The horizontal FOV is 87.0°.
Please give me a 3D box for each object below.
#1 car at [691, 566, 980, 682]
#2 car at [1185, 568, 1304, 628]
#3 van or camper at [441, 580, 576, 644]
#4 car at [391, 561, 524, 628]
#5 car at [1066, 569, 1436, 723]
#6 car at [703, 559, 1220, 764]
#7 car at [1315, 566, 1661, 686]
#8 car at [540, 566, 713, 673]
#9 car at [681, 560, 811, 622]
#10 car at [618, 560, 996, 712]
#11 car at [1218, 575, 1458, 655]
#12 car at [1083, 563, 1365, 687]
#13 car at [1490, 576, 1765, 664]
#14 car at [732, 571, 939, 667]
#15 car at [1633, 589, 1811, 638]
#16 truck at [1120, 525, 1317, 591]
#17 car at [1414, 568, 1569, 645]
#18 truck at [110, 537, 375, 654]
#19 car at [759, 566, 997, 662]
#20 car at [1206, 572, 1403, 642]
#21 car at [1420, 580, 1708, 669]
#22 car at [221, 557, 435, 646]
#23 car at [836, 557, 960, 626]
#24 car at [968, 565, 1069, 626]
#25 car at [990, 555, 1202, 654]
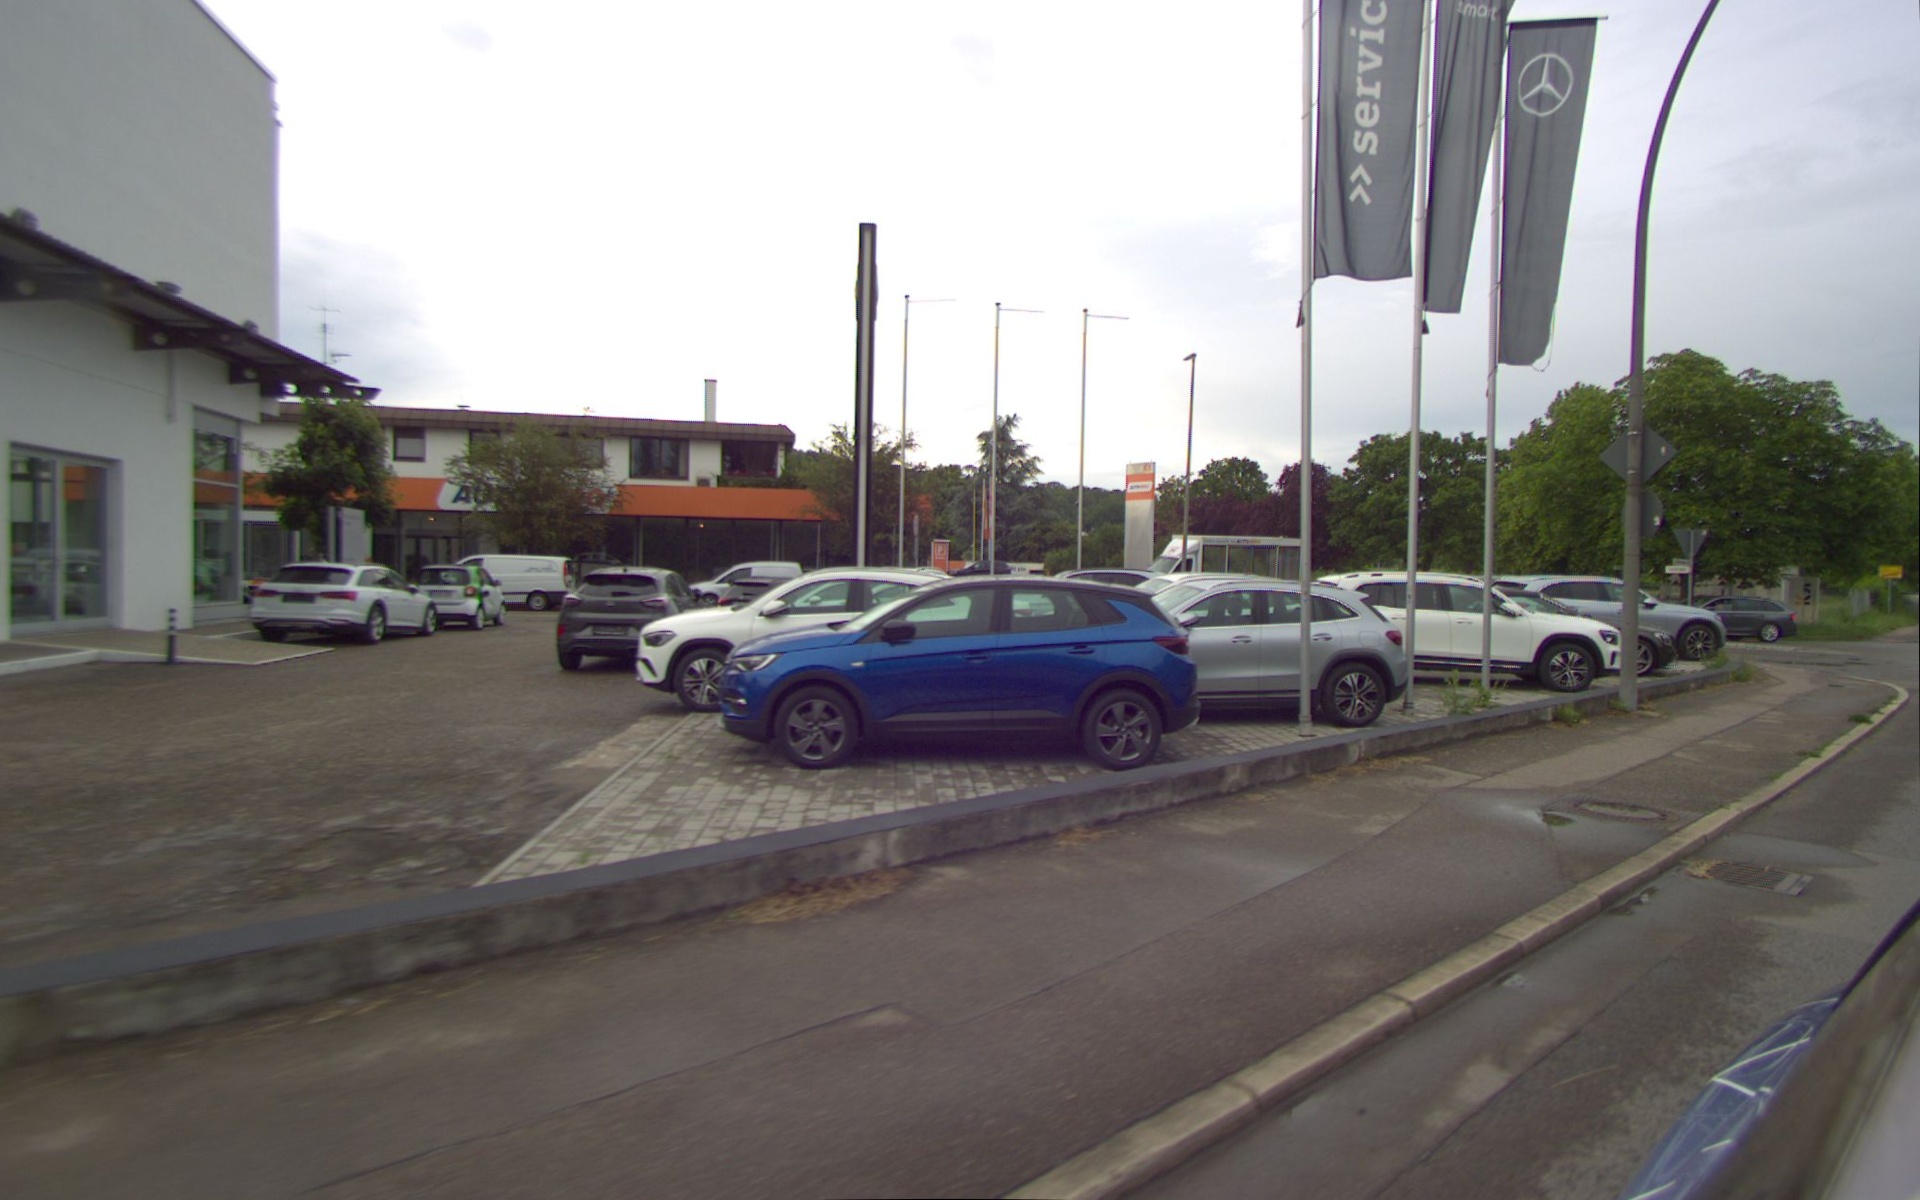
[{"bbox_3d":[-1.779,0.323,14.811,3.919,1.565,1.906,0,0,-6],"label":"car"},{"bbox_3d":[7.959,-0.057,28.004,2.057,1.479,4.714,1,0,30],"label":"car"},{"bbox_3d":[-15.218,0.386,34.335,3.916,2.066,1.812,-1,0,-14],"label":"van or camper"},{"bbox_3d":[-12.511,-0.166,25.460,1.958,1.498,4.008,2,1,-11],"label":"car"},{"bbox_3d":[3.257,0.482,11.831,3.739,1.619,1.734,1,2,-4],"label":"car"},{"bbox_3d":[-0.034,0.492,9.318,4.279,1.652,1.846,1,2,-4],"label":"car"},{"bbox_3d":[7.913,0.331,15.656,4.362,1.673,1.919,1,1,14],"label":"car"},{"bbox_3d":[-5.183,0.226,16.201,1.746,1.496,3.566,1,2,-3],"label":"car"},{"bbox_3d":[-7.658,-0.316,36.147,4.357,2.039,1.836,-2,-1,-16],"label":"car"},{"bbox_3d":[-1.772,0.371,11.976,4.093,1.619,1.735,1,2,-10],"label":"car"},{"bbox_3d":[7.783,0.266,20.993,4.273,1.518,1.970,-1,0,-13],"label":"car"},{"bbox_3d":[3.661,0.315,14.429,3.488,1.619,1.666,1,2,-4],"label":"car"},{"bbox_3d":[13.564,0.387,20.766,4.283,1.692,1.966,0,0,1],"label":"car"},{"bbox_3d":[-2.491,0.367,20.476,3.907,1.662,1.774,-3,0,-6],"label":"car"},{"bbox_3d":[24.539,0.405,32.751,4.193,1.470,1.792,1,0,12],"label":"car"},{"bbox_3d":[11.554,-1.880,45.252,8.297,2.656,2.794,-2,-1,-19],"label":"truck"},{"bbox_3d":[13.026,0.116,24.678,4.628,1.694,1.811,-1,1,-41],"label":"car"},{"bbox_3d":[-23.030,-0.161,32.827,6.511,3.457,2.576,-2,-1,-11],"label":"truck"},{"bbox_3d":[-1.448,0.231,17.679,3.919,1.565,1.906,0,0,-7],"label":"car"},{"bbox_3d":[8.016,0.150,23.887,4.053,1.479,1.769,1,0,6],"label":"car"},{"bbox_3d":[10.569,0.373,18.091,4.088,1.411,1.841,1,1,19],"label":"car"},{"bbox_3d":[-11.775,-0.013,19.261,1.958,1.460,4.419,2,1,-11],"label":"car"},{"bbox_3d":[-1.460,-0.199,25.076,1.751,1.571,3.425,1,0,22],"label":"car"},{"bbox_3d":[1.661,-0.113,27.198,1.749,1.479,3.976,1,0,18],"label":"car"},{"bbox_3d":[2.695,0.076,20.599,3.920,1.742,1.681,-3,0,-6],"label":"car"}]
